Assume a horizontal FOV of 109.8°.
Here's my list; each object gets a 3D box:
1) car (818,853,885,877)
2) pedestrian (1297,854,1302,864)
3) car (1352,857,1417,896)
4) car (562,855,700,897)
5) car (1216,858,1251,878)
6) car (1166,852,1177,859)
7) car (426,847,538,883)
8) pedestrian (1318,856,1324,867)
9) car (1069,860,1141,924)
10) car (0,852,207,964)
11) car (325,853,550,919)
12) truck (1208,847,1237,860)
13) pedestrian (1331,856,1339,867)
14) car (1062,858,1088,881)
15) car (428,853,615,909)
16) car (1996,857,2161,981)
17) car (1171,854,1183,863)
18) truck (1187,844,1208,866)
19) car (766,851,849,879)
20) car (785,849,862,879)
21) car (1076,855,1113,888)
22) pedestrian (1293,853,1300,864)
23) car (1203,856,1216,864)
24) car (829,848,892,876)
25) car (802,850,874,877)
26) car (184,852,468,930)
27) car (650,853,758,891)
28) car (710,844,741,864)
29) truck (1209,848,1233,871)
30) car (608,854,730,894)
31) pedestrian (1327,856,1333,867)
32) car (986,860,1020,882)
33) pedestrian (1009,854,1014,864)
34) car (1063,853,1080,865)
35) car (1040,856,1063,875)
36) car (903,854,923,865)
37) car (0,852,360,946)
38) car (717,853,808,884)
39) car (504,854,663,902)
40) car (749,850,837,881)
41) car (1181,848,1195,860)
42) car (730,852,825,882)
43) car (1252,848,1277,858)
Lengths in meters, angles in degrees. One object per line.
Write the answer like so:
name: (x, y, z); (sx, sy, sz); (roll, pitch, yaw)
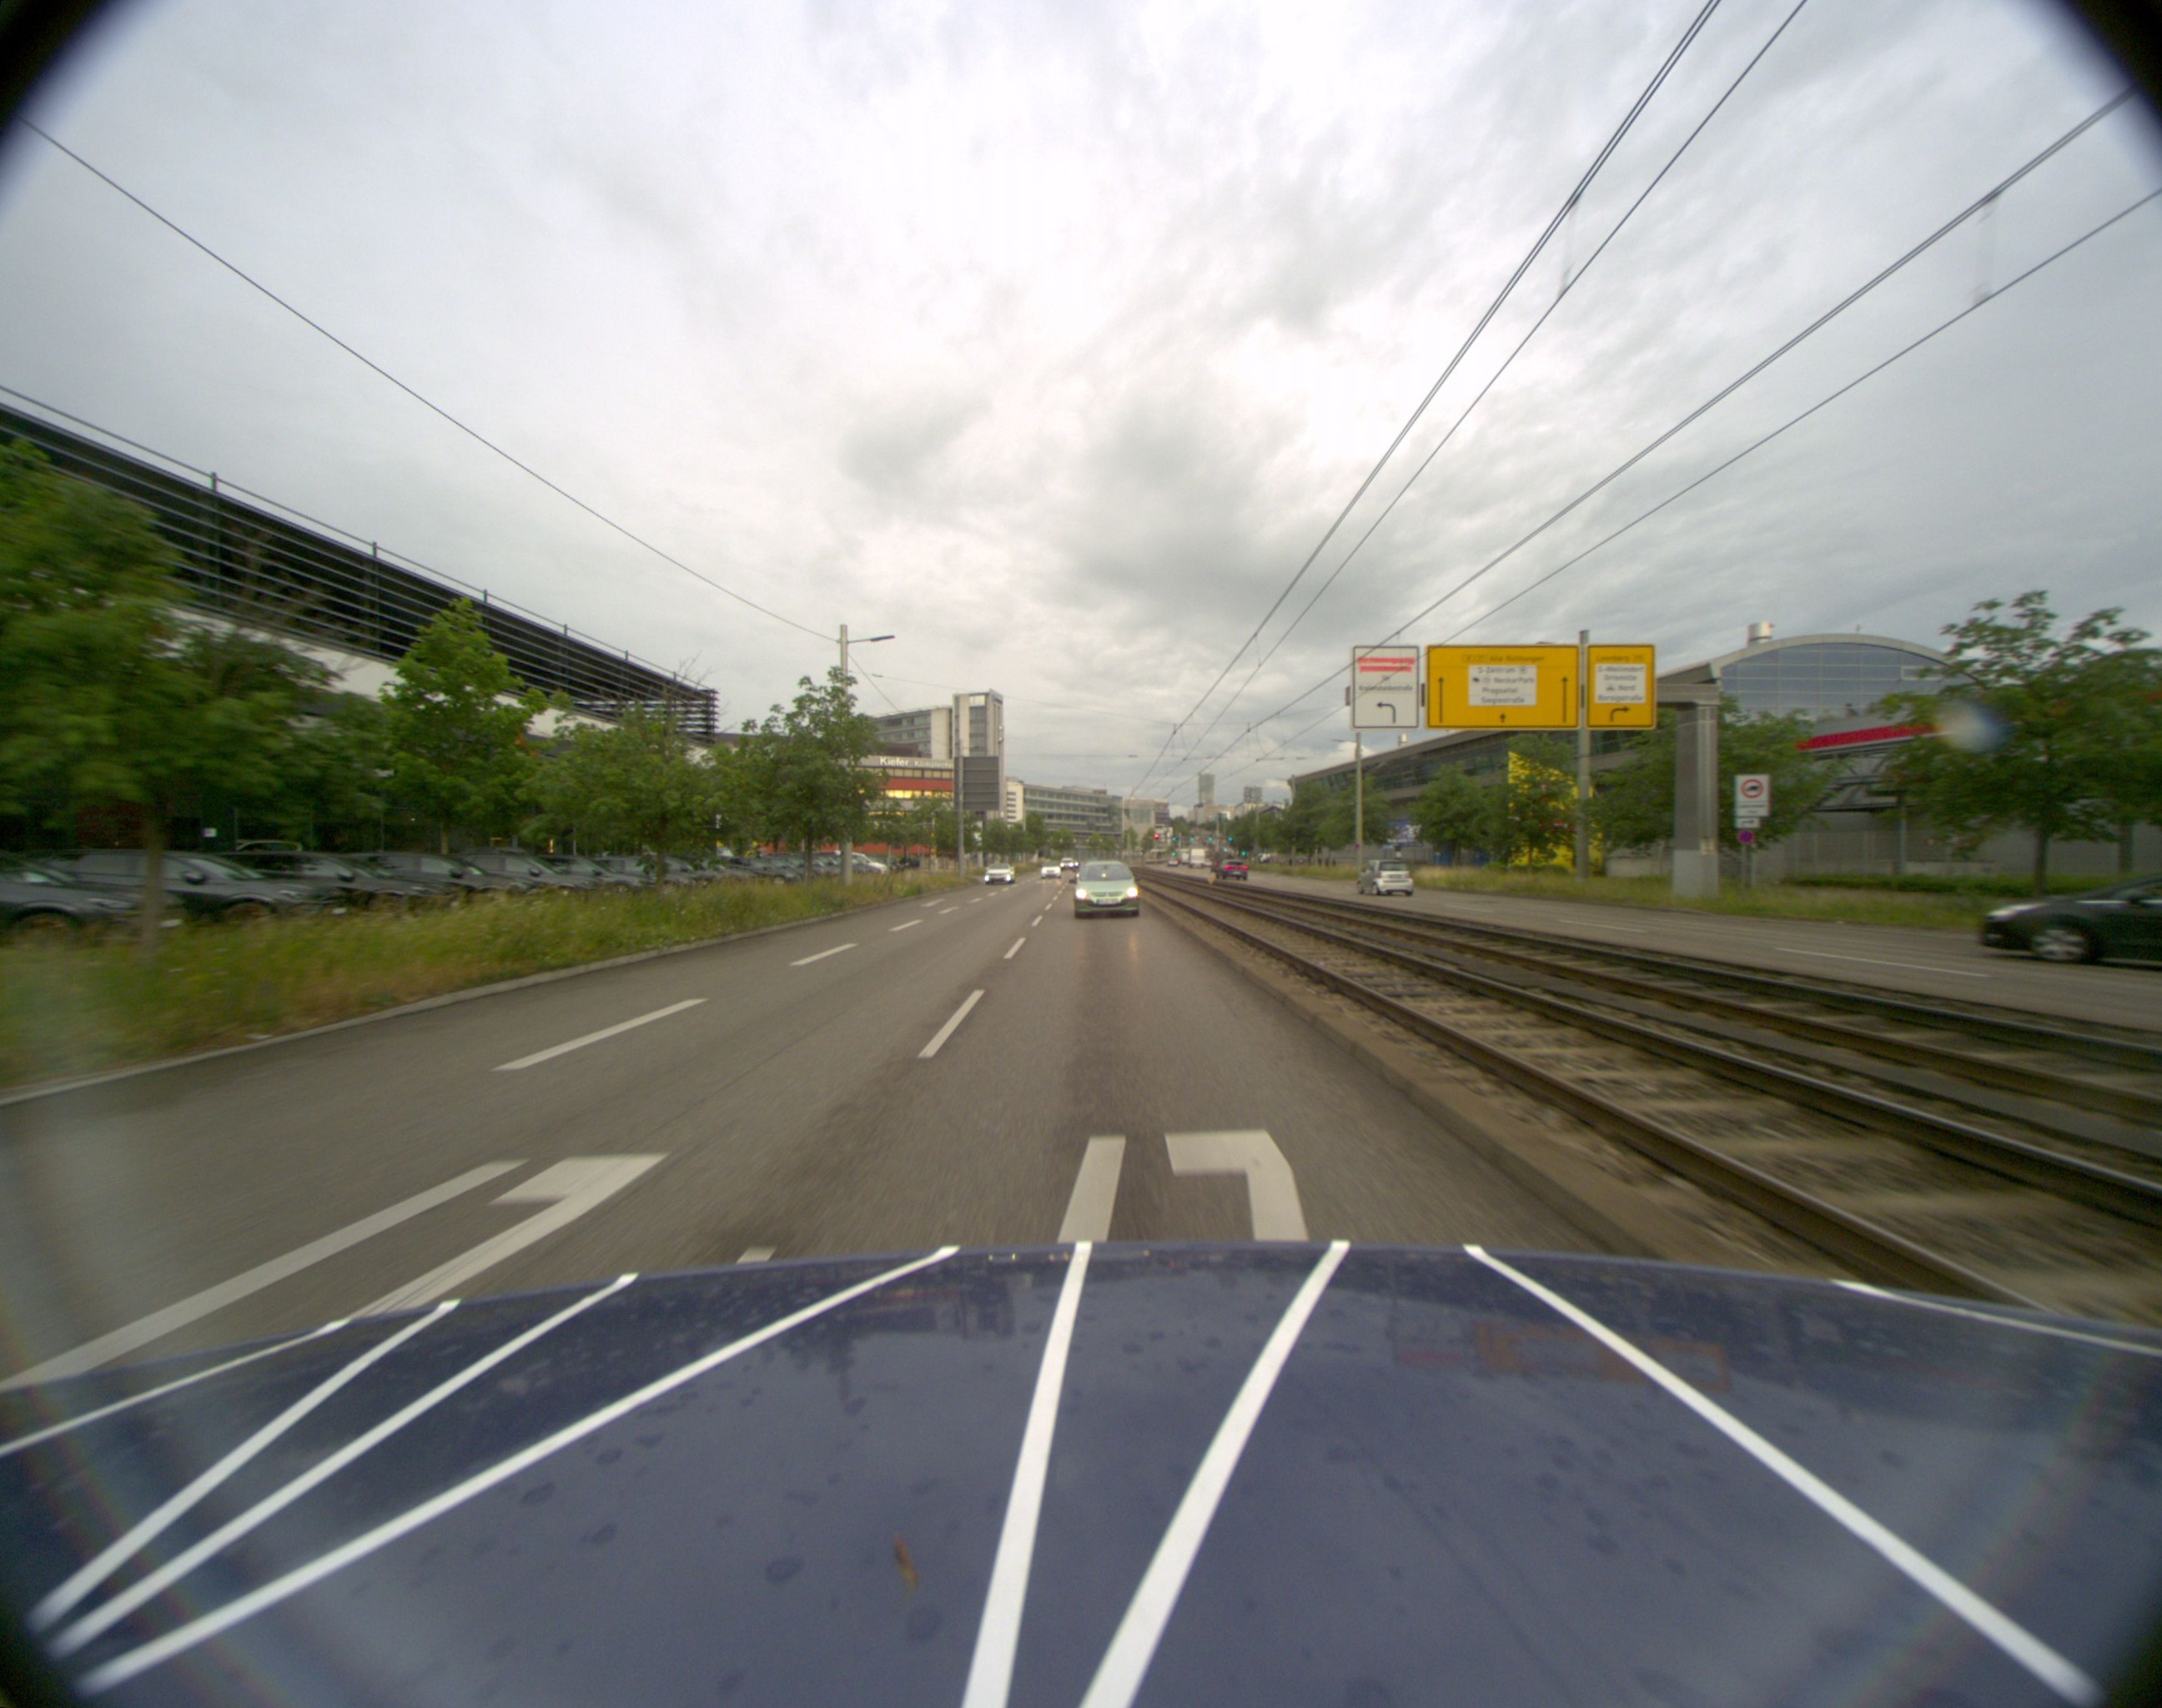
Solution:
car: (-16.527, 0.786, 54.926); (4.502, 1.628, 1.819); (1, 0, -13)
pedestrian: (33.630, 0.723, 117.179); (0.550, 1.489, 0.758); (-3, 1, 4)
car: (13.166, 0.940, 33.137); (1.602, 1.528, 2.950); (2, 1, 0)
car: (-16.692, 0.823, 28.409); (4.156, 1.450, 1.791); (1, 0, -19)
car: (11.124, 0.989, 55.620); (1.807, 1.420, 4.236); (1, 0, 2)
car: (21.071, 0.376, 176.972); (1.998, 1.721, 4.679); (1, 0, 2)
car: (-25.315, 0.447, 32.305); (1.669, 1.464, 3.899); (0, 0, 0)
pedestrian: (31.520, 0.992, 99.743); (0.512, 1.447, 0.653); (-3, 1, -10)
car: (0.642, 0.982, 21.273); (1.762, 1.489, 4.137); (-2, 0, 1)
car: (-16.896, 0.783, 11.549); (4.342, 1.603, 1.865); (1, 0, -28)
car: (-16.725, 0.813, 20.042); (4.158, 1.560, 1.823); (1, 0, -24)
truck: (44.039, -0.129, 236.227); (4.081, 3.734, 10.877); (0, 0, 38)
pedestrian: (31.892, 0.946, 95.441); (0.609, 1.431, 0.745); (-3, 1, -4)
car: (-0.417, 1.121, 57.471); (1.762, 1.535, 3.714); (-3, 0, 1)
car: (-16.734, 0.799, 22.992); (4.156, 1.560, 1.906); (1, 0, -19)
car: (16.460, 0.972, 10.723); (2.003, 1.725, 4.201); (2, 0, -30)
car: (17.613, 0.841, 139.528); (1.810, 1.490, 4.442); (2, 0, 2)
truck: (19.519, 0.051, 127.615); (2.733, 3.339, 7.151); (2, 3, 4)
car: (-16.712, 0.649, 46.651); (4.500, 1.609, 1.820); (1, 0, -8)
car: (-16.641, 0.635, 49.309); (4.502, 1.785, 1.819); (1, 0, -12)
car: (0.741, 0.895, 39.802); (1.762, 1.535, 3.714); (-3, 0, 2)
pedestrian: (31.653, 0.610, 111.546); (0.684, 1.554, 0.627); (-3, 1, 1)
car: (23.201, 1.054, 137.333); (1.901, 1.480, 4.425); (0, 0, 4)
car: (-16.623, 0.597, 57.391); (4.504, 1.980, 1.818); (1, 0, -17)
car: (-16.659, 0.623, 52.234); (4.502, 1.742, 1.819); (1, 0, -12)
car: (-16.756, 0.792, 17.174); (4.158, 1.595, 1.823); (1, 0, -24)
car: (-16.595, 0.784, 33.685); (4.061, 1.567, 1.730); (1, 0, -19)
car: (-30.367, 0.006, 64.861); (1.848, 1.634, 4.305); (0, -1, -32)
truck: (16.532, 0.596, 89.993); (2.243, 2.550, 7.017); (0, 0, 6)
car: (-16.789, 0.815, 31.199); (4.156, 1.525, 1.791); (1, 0, -19)
pedestrian: (32.557, 0.944, 99.363); (0.452, 1.447, 0.653); (-3, 1, -10)
car: (-5.559, 1.222, 54.636); (1.878, 1.485, 3.837); (-1, 0, 2)
pedestrian: (-13.335, 1.026, 145.455); (0.683, 1.889, 0.677); (-3, 1, -21)
car: (-1.320, 0.724, 107.114); (1.889, 1.584, 3.983); (-1, 0, 6)
car: (-2.561, 1.026, 67.248); (1.818, 1.584, 3.836); (0, 0, 1)
car: (-21.335, 0.713, 96.601); (1.784, 1.410, 3.782); (1, 0, 0)
car: (-16.782, 0.791, 14.384); (4.158, 1.553, 1.865); (1, 0, -25)
car: (-16.381, 0.753, 39.223); (4.058, 1.493, 1.685); (1, 0, -11)
car: (-16.652, 0.809, 25.672); (4.156, 1.519, 1.828); (1, 0, -19)
car: (-16.647, 0.657, 44.151); (4.501, 1.653, 1.819); (1, 0, -11)
car: (22.320, 0.039, 158.945); (2.438, 2.485, 6.550); (1, 0, 5)
car: (-16.531, 0.706, 41.588); (4.501, 1.560, 1.819); (1, 0, -11)
car: (40.415, -0.206, 167.528); (5.067, 2.318, 1.997); (0, 0, -16)
